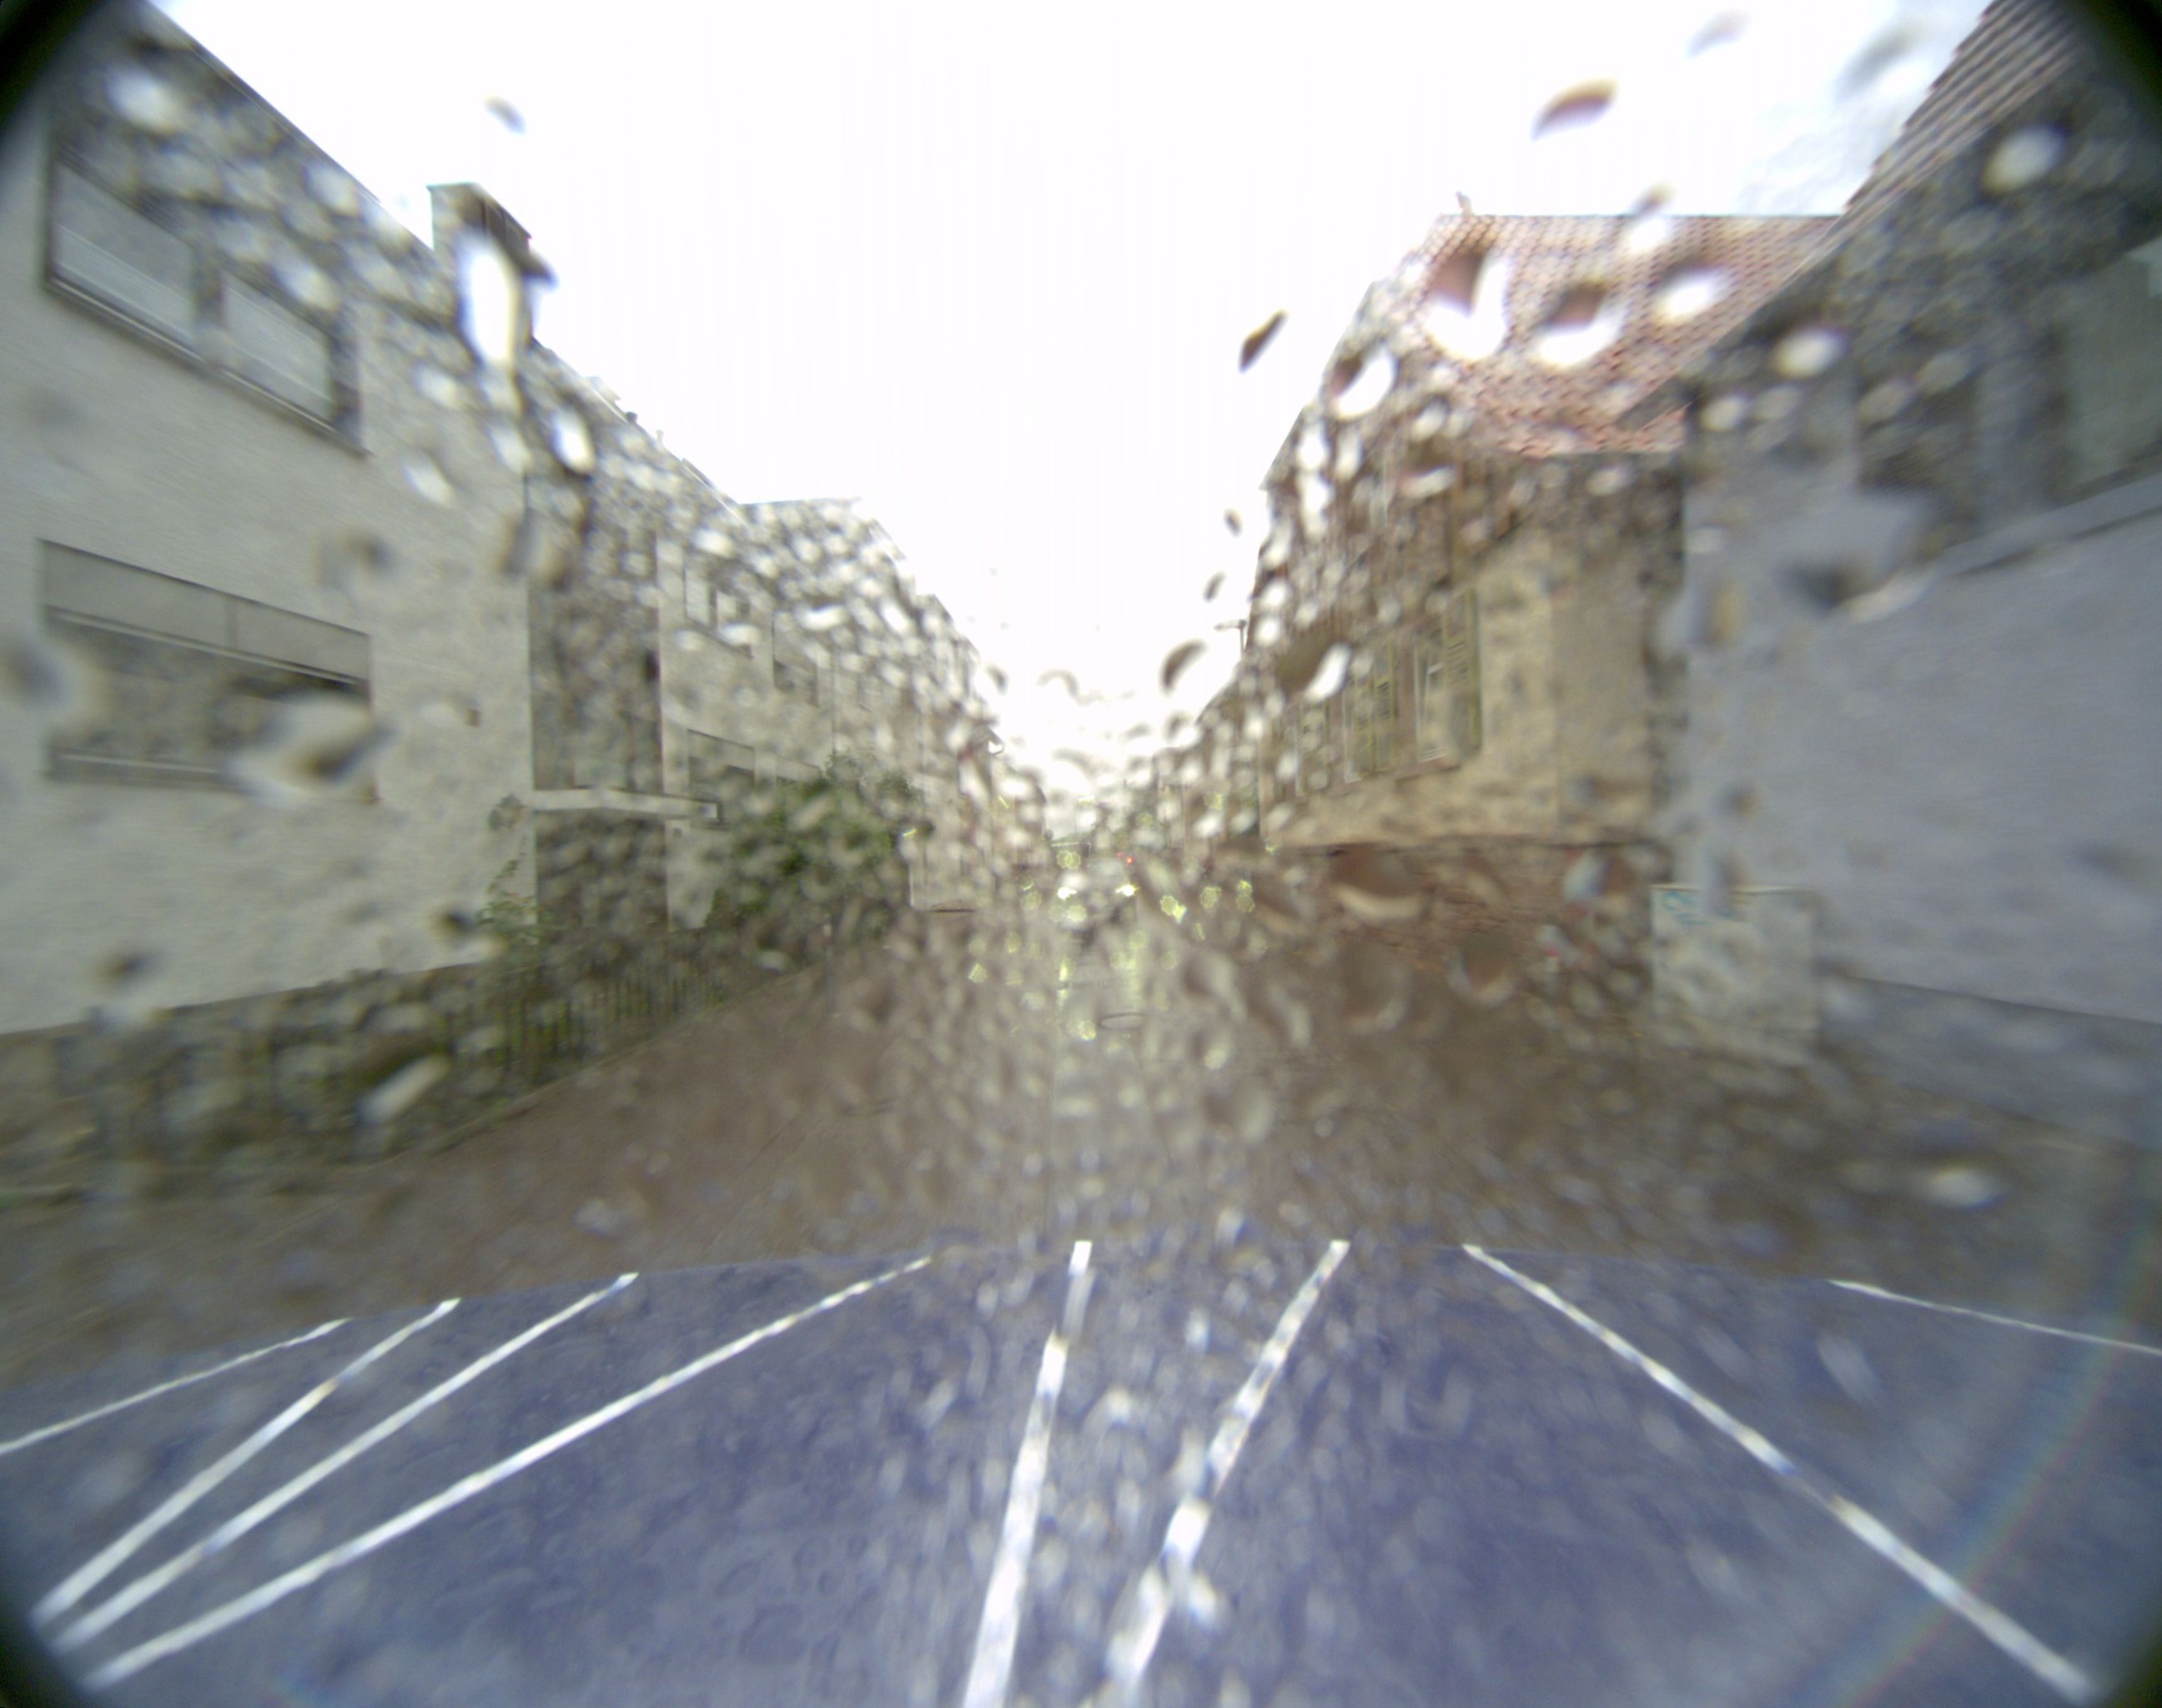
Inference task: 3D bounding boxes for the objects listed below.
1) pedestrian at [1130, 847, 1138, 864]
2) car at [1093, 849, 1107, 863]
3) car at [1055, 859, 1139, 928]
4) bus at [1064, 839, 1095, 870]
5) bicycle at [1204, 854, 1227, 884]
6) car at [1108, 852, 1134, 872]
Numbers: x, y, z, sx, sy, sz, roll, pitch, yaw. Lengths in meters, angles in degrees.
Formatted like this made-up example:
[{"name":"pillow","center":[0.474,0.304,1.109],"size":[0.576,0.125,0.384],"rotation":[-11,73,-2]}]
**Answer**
[{"name":"pedestrian","center":[4.781,0.161,68.594],"size":[0.573,1.529,0.833],"rotation":[-4,1,-4]},{"name":"car","center":[2.241,0.230,91.357],"size":[1.608,1.504,3.688],"rotation":[-2,0,0]},{"name":"car","center":[0.503,0.859,18.356],"size":[1.738,1.362,4.103],"rotation":[-3,0,4]},{"name":"bus","center":[-0.282,-0.012,85.359],"size":[2.669,3.213,12.186],"rotation":[-1,0,-4]},{"name":"bicycle","center":[5.454,0.599,30.875],"size":[0.483,1.171,1.874],"rotation":[-4,0,-1]},{"name":"car","center":[3.245,0.619,61.675],"size":[1.837,1.547,4.238],"rotation":[0,1,-1]}]
